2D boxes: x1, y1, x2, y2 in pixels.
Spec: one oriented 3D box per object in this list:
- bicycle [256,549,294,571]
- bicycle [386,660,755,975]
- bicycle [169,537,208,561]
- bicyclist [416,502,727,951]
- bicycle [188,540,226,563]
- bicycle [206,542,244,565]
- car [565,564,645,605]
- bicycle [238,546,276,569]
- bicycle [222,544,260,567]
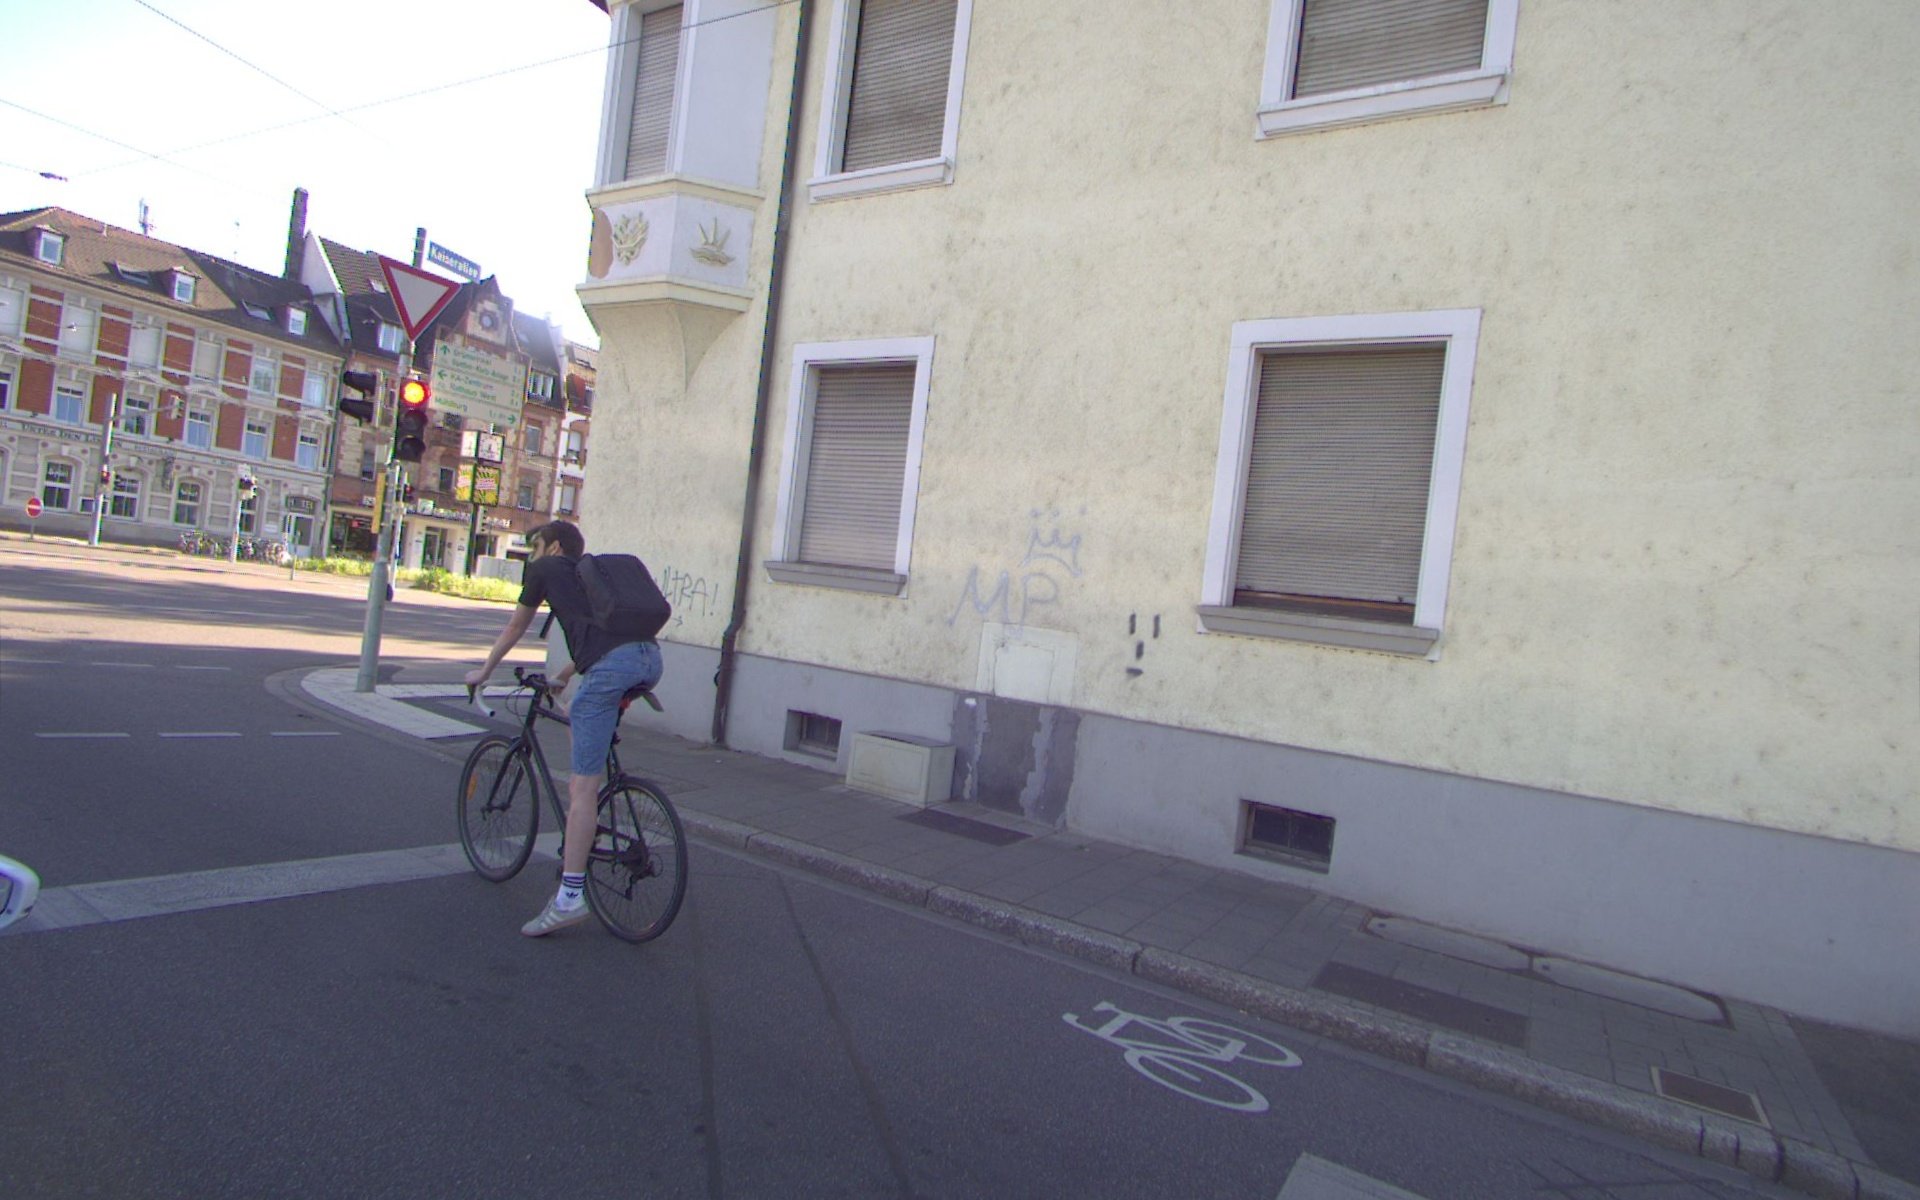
[{"bbox_3d":[-33.095,-1.940,48.596,2.125,0.850,0.659,6,-2,33],"label":"bicycle"},{"bbox_3d":[-1.788,0.877,4.502,1.721,0.982,0.519,7,0,32],"label":"bicycle"},{"bbox_3d":[-34.863,-2.298,45.476,2.125,0.850,0.659,6,-2,33],"label":"bicycle"},{"bbox_3d":[-1.740,0.493,4.481,1.098,1.722,0.573,7,0,32],"label":"bicyclist"},{"bbox_3d":[-34.546,-2.230,46.143,2.125,0.850,0.659,6,-2,33],"label":"bicycle"},{"bbox_3d":[-34.173,-2.156,46.764,2.125,0.850,0.659,6,-2,33],"label":"bicycle"},{"bbox_3d":[-23.004,-0.996,65.321,1.968,2.038,4.430,7,-1,34],"label":"car"},{"bbox_3d":[-33.483,-2.020,47.891,2.125,0.850,0.659,6,-2,33],"label":"bicycle"},{"bbox_3d":[-33.839,-2.088,47.361,2.125,0.850,0.659,6,-2,33],"label":"bicycle"}]
